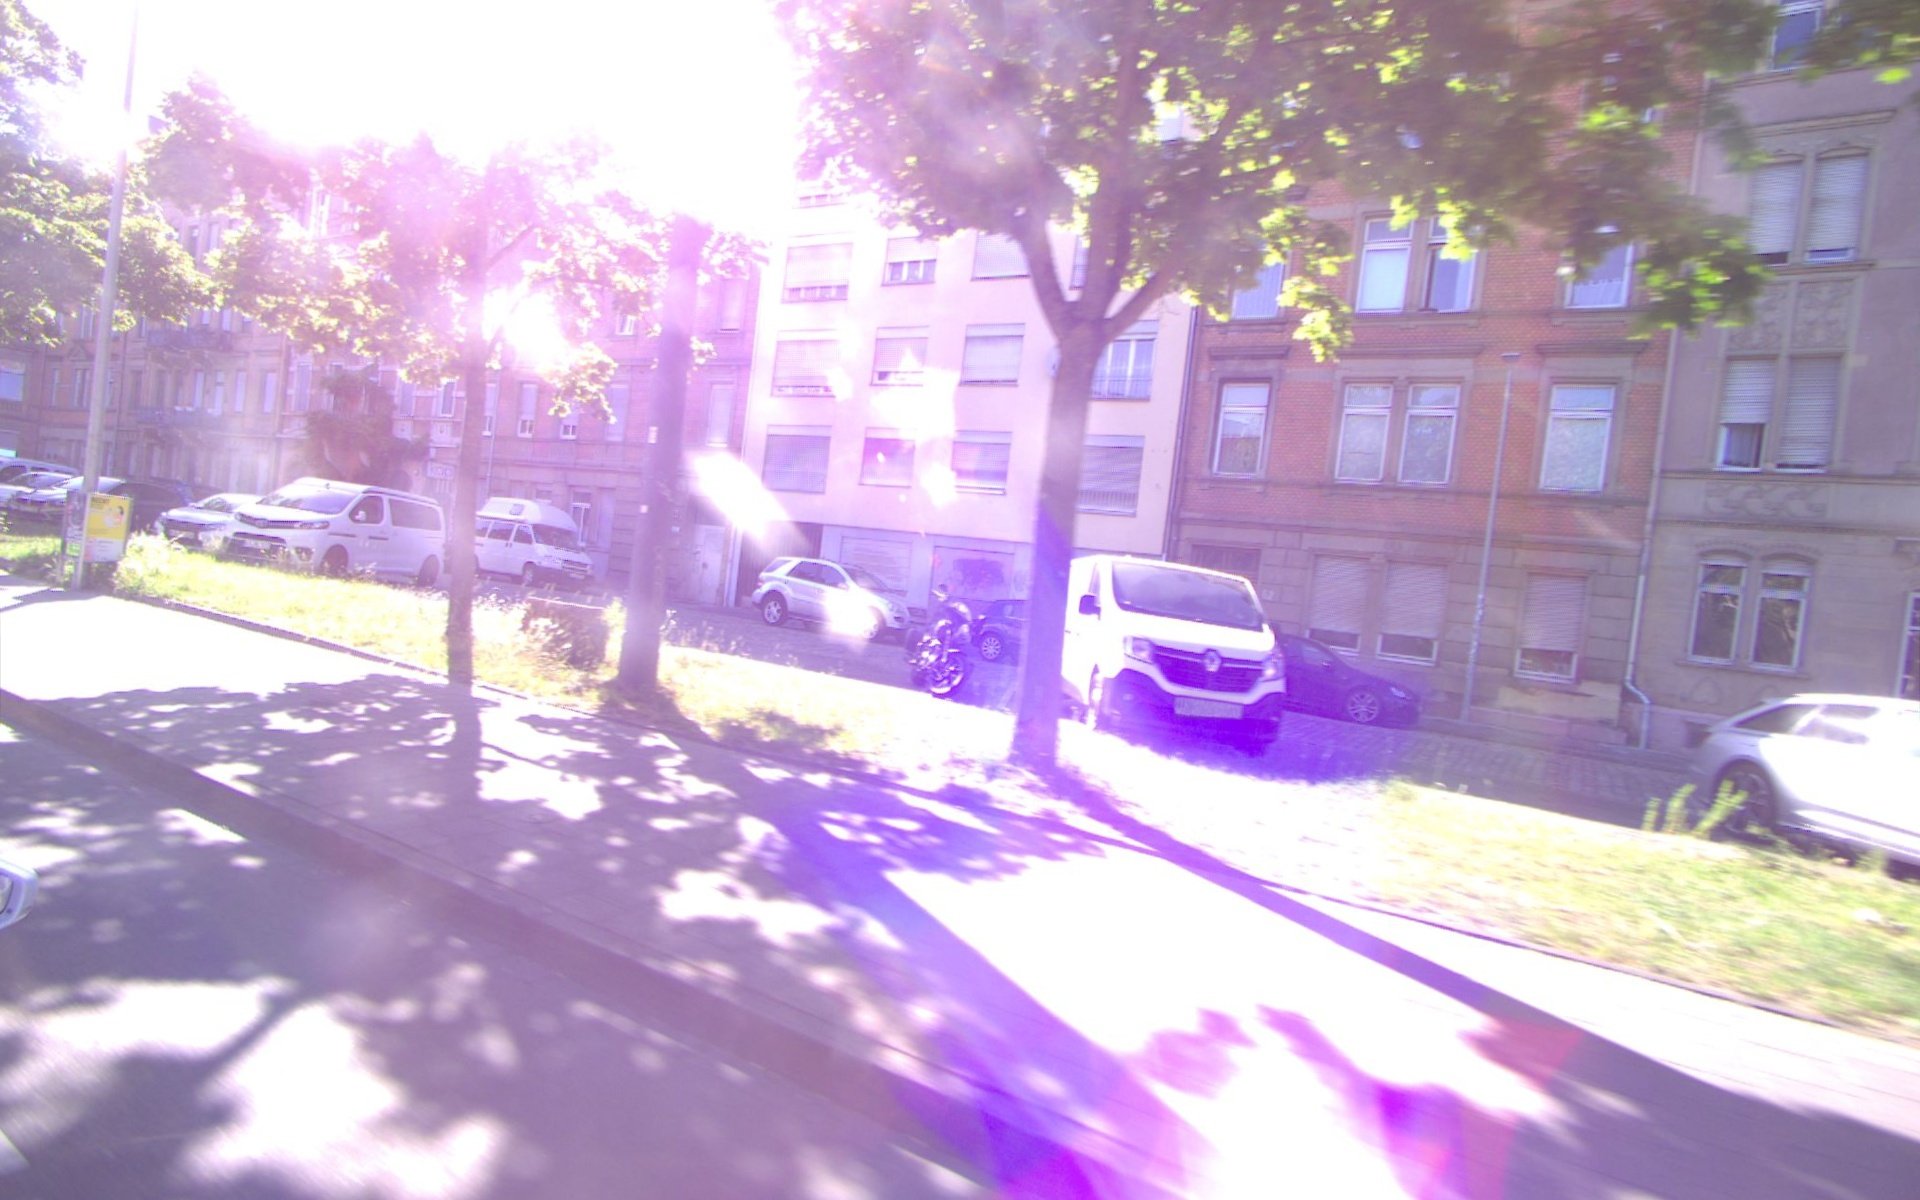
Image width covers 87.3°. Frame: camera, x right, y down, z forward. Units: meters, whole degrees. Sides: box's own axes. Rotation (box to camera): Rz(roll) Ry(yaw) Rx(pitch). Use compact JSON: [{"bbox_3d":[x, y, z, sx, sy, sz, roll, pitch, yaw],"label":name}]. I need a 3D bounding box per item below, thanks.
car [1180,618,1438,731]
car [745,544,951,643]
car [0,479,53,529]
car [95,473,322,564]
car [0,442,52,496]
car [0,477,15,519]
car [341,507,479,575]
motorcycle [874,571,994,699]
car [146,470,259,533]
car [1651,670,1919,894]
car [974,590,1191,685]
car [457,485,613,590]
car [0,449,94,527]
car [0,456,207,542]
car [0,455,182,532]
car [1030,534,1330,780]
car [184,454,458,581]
[{"bbox_3d":[6.563,1.343,19.061,4.221,1.438,1.730,8,1,31],"label":"car"},{"bbox_3d":[-2.759,-0.162,24.481,4.548,1.823,1.995,8,2,30],"label":"car"},{"bbox_3d":[-30.742,-3.168,31.224,1.891,1.397,3.613,7,-1,-3],"label":"car"},{"bbox_3d":[-15.578,-1.619,21.165,1.780,1.498,4.026,6,1,-3],"label":"car"},{"bbox_3d":[-49.019,-6.825,51.467,5.101,2.388,2.350,8,2,32],"label":"car"},{"bbox_3d":[-33.503,-3.617,32.217,2.009,1.397,4.751,7,-1,-3],"label":"car"},{"bbox_3d":[-18.382,-1.967,33.599,4.438,1.712,1.996,7,0,32],"label":"car"},{"bbox_3d":[-0.405,0.407,13.353,0.842,1.439,2.252,6,1,-18],"label":"motorcycle"},{"bbox_3d":[-30.677,-3.989,40.718,4.645,2.003,1.995,8,2,31],"label":"car"},{"bbox_3d":[8.317,1.617,8.025,1.984,1.453,4.875,7,1,-2],"label":"car"},{"bbox_3d":[2.587,0.769,21.559,4.094,1.439,1.880,8,1,31],"label":"car"},{"bbox_3d":[-12.869,-1.909,30.410,4.438,2.619,1.994,8,2,32],"label":"car"},{"bbox_3d":[-28.391,-3.393,29.362,2.062,2.039,4.875,6,1,-3],"label":"car"},{"bbox_3d":[-22.885,-2.620,26.884,1.962,1.750,4.510,6,1,1],"label":"car"},{"bbox_3d":[-25.413,-3.025,28.955,2.061,1.669,4.877,6,1,1],"label":"car"},{"bbox_3d":[2.240,0.483,11.891,1.984,2.102,4.874,7,1,-4],"label":"car"},{"bbox_3d":[-12.738,-1.518,20.603,2.061,2.039,5.184,6,1,1],"label":"car"}]
